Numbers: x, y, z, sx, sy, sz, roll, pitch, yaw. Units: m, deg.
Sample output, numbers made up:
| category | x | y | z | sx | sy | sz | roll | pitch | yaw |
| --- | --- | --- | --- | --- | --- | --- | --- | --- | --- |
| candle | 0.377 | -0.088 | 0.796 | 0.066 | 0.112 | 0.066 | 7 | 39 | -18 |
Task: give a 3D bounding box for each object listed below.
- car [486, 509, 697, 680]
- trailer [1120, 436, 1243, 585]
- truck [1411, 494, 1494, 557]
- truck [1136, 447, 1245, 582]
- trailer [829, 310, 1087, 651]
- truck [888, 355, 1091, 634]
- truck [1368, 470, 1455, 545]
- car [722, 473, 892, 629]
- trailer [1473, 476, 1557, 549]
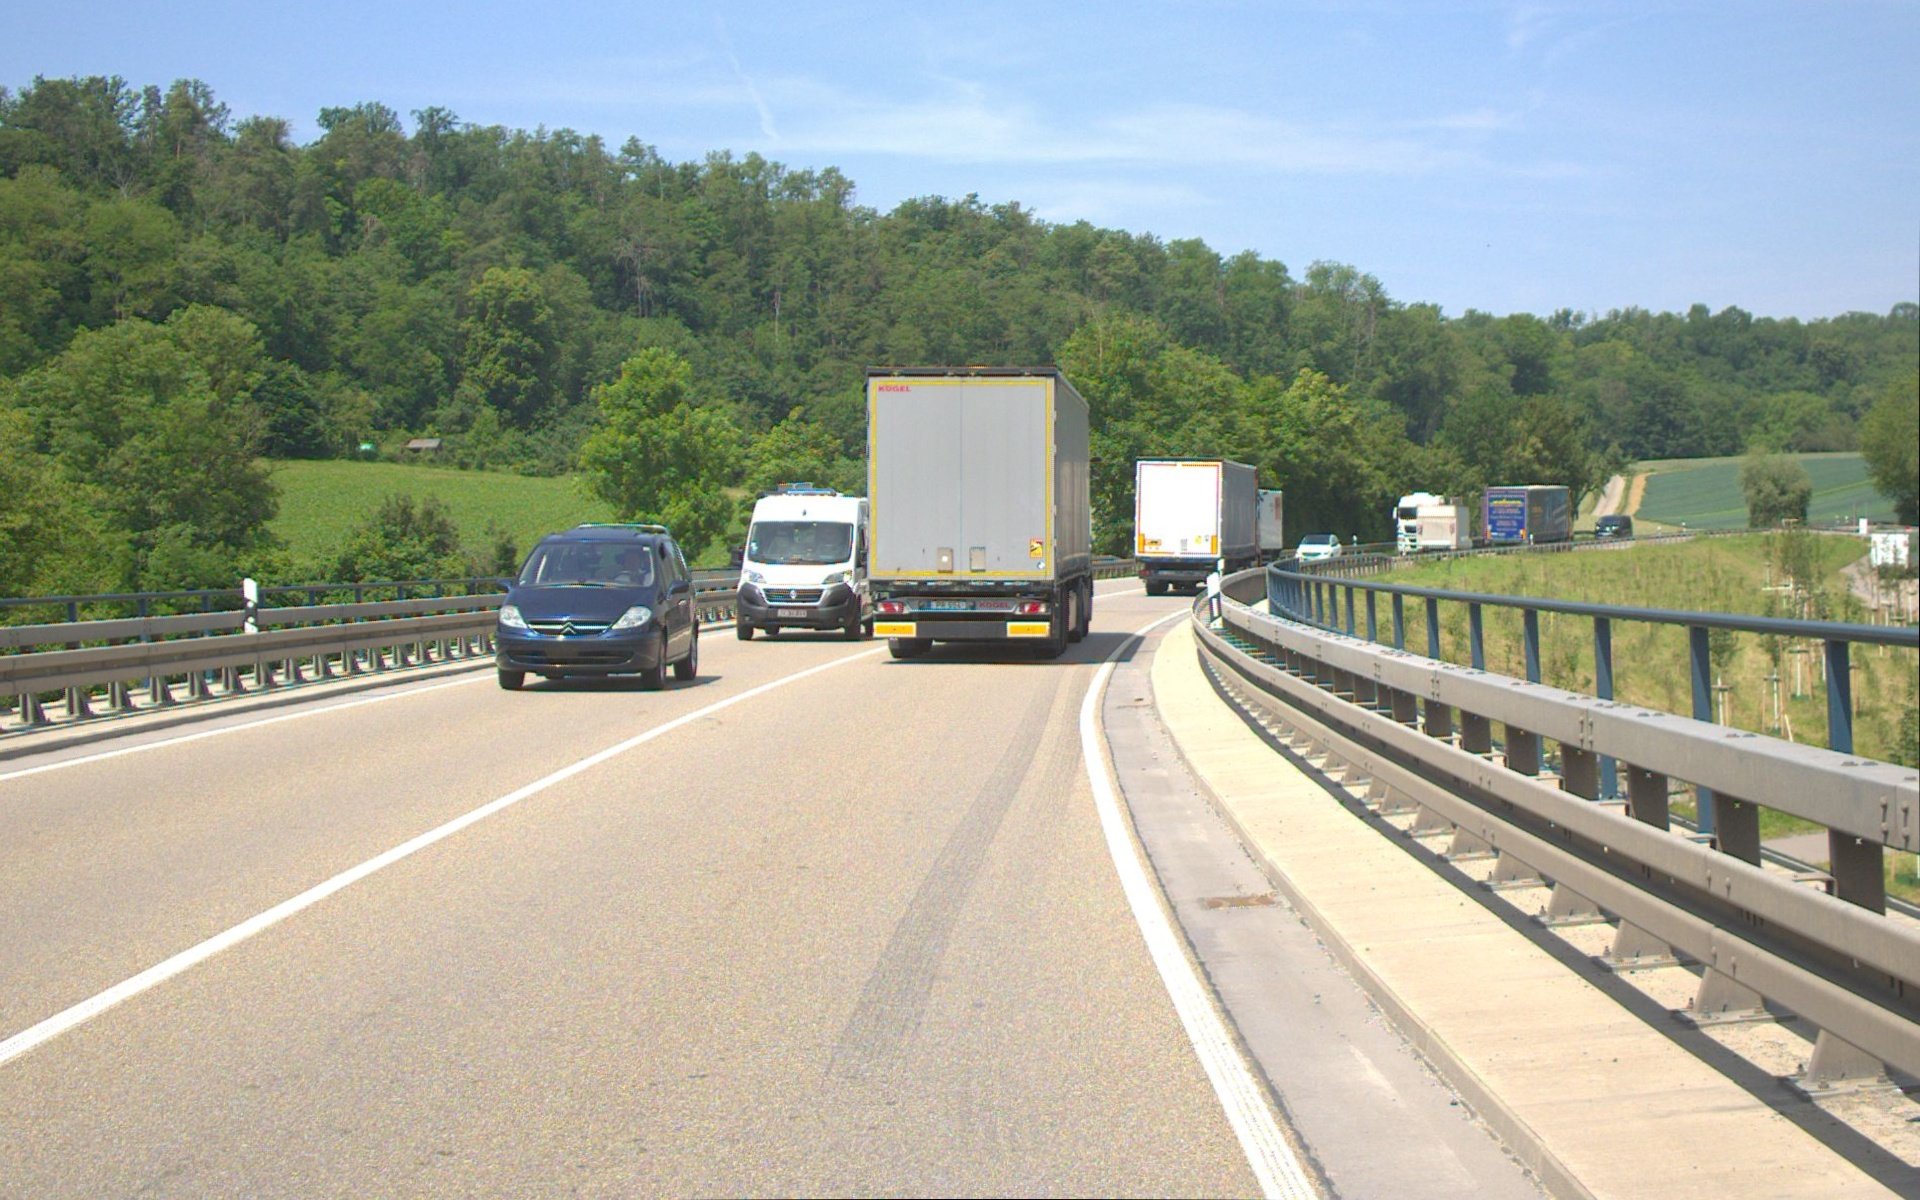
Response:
| category | x | y | z | sx | sy | sz | roll | pitch | yaw |
| --- | --- | --- | --- | --- | --- | --- | --- | --- | --- |
| car | -4.104 | -0.093 | 38.959 | 1.852 | 1.792 | 4.978 | 1 | 1 | 0 |
| trailer | 6.968 | -2.696 | 106.250 | 3.366 | 4.302 | 13.862 | 0 | 1 | 5 |
| truck | 26.927 | -4.022 | 187.464 | 3.225 | 3.354 | 11.867 | 1 | 1 | 14 |
| truck | 7.622 | -2.781 | 113.029 | 3.366 | 4.302 | 6.739 | 0 | 1 | 5 |
| trailer | 0.226 | -1.658 | 52.420 | 3.118 | 4.484 | 13.885 | 0 | 1 | 3 |
| truck | 0.604 | -1.745 | 58.934 | 3.118 | 4.479 | 6.810 | 0 | 1 | 3 |
| truck | 26.618 | -5.404 | 202.199 | 3.063 | 4.248 | 9.858 | 1 | 1 | 19 |
| car | -2.589 | -0.844 | 59.675 | 2.179 | 2.550 | 5.796 | 1 | 1 | 5 |
| trailer | 33.729 | -5.265 | 208.553 | 3.650 | 4.248 | 12.186 | 1 | 1 | 15 |
